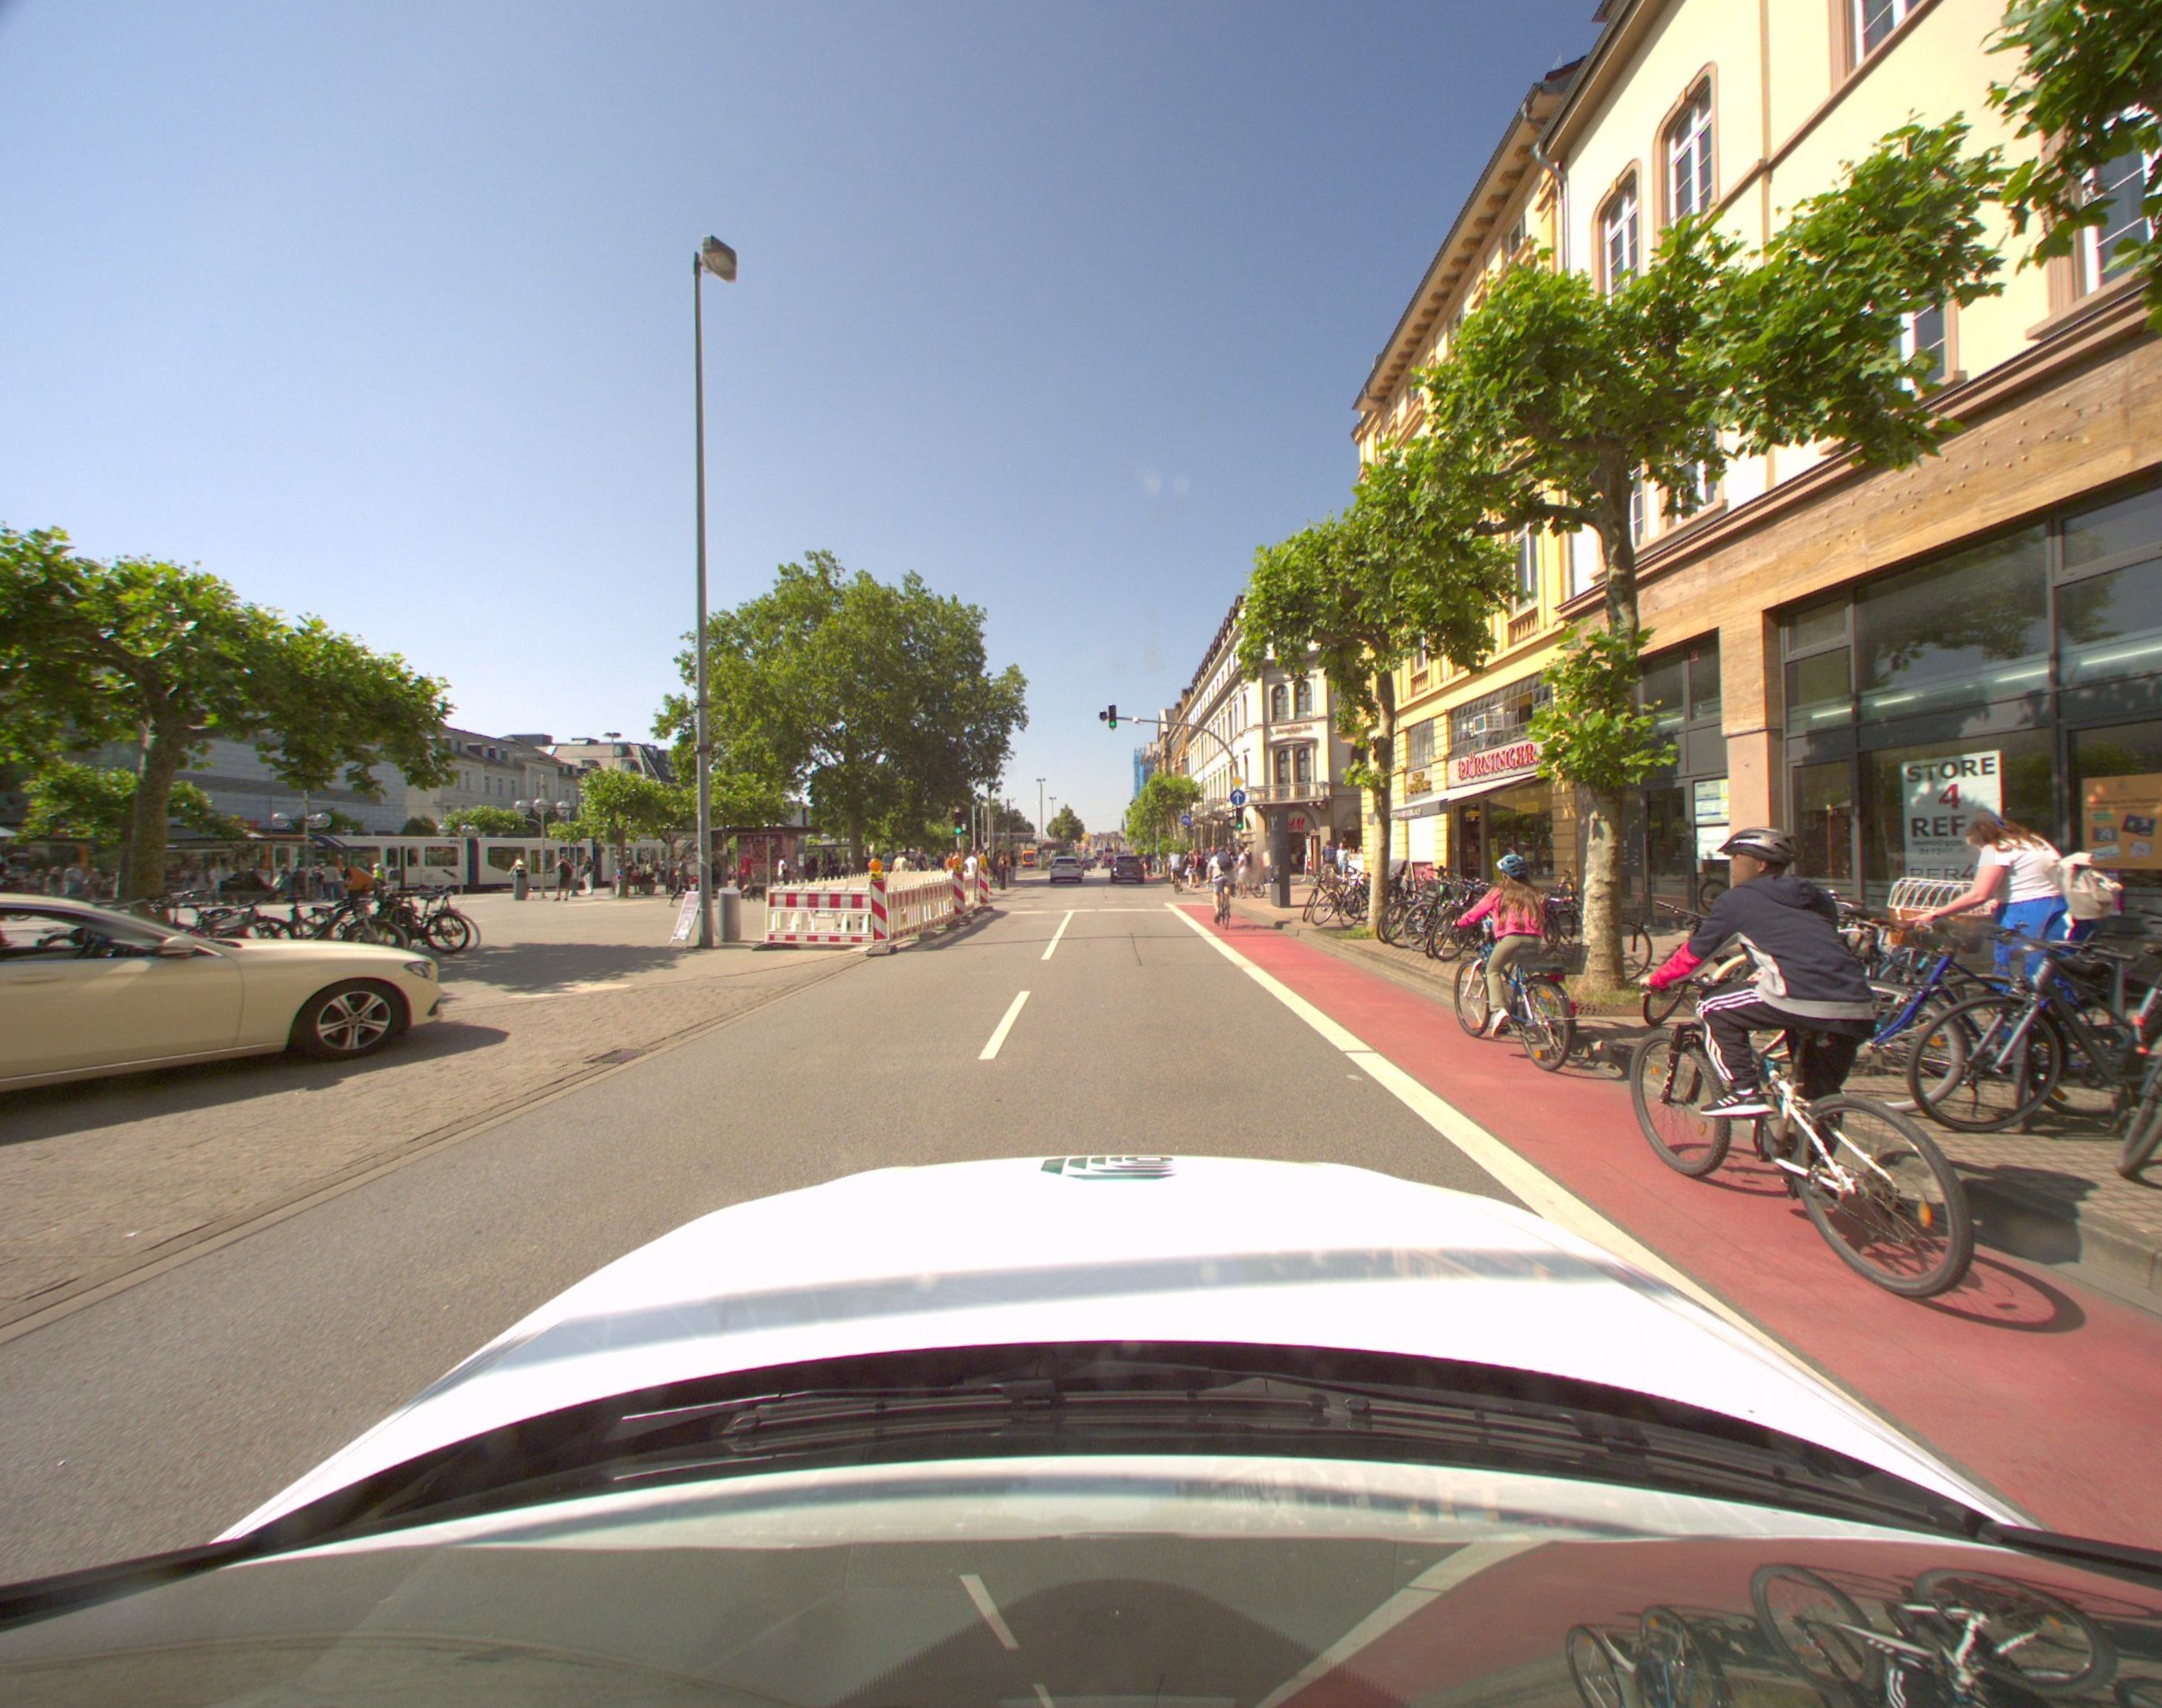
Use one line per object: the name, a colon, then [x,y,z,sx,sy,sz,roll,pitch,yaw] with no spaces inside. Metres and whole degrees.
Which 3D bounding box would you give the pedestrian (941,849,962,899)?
pedestrian: [-4.499,0.694,28.307,0.543,1.718,0.600,1,-1,-30]

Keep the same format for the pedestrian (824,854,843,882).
pedestrian: [-13.222,0.733,43.497,0.627,1.478,0.735,-1,-1,22]

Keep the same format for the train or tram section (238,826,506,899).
train or tram section: [-39.263,0.404,45.804,2.587,3.676,11.072,-1,0,37]

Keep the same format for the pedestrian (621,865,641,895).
pedestrian: [-19.210,1.118,34.784,0.616,1.262,0.604,0,0,-43]

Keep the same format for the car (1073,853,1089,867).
car: [-0.015,0.724,96.441,1.839,1.560,4.000,-1,0,1]

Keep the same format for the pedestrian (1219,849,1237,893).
pedestrian: [5.587,0.653,30.912,0.546,1.631,0.589,-2,-1,4]

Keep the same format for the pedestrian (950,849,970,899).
pedestrian: [-4.315,0.714,29.076,0.536,1.779,0.607,0,-1,7]

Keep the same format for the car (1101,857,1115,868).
car: [3.770,1.202,112.949,1.839,1.413,4.000,-1,0,1]

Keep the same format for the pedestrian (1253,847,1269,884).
pedestrian: [8.015,0.527,36.258,0.521,1.611,0.642,-2,-1,2]

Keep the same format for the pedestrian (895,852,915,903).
pedestrian: [-6.549,0.868,30.324,0.573,1.891,0.654,0,-1,3]

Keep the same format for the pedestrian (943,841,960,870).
pedestrian: [-7.848,0.109,49.375,0.671,1.764,0.771,-1,-1,31]

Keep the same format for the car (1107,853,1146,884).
car: [2.418,0.769,44.298,1.840,1.559,3.998,-1,0,-1]

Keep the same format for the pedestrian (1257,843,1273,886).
pedestrian: [8.048,0.457,35.611,0.521,1.823,0.642,-2,-1,2]

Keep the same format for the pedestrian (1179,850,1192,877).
pedestrian: [6.374,0.600,49.563,0.525,1.594,0.615,-1,2,28]

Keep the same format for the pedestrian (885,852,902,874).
pedestrian: [-9.983,0.484,43.321,0.627,1.144,0.669,-1,-1,22]

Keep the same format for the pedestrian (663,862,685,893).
pedestrian: [-17.021,0.986,34.089,0.605,1.262,0.615,-1,0,37]

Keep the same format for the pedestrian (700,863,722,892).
pedestrian: [-16.108,1.016,35.414,0.605,1.262,0.615,-1,0,28]

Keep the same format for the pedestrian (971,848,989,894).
pedestrian: [-3.900,0.670,31.484,0.573,1.758,0.639,-1,-1,3]

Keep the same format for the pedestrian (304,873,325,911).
pedestrian: [-36.169,1.772,38.422,0.737,1.749,0.610,-1,0,40]

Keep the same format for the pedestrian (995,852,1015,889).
pedestrian: [-3.328,0.733,35.716,0.627,1.595,0.690,-1,-1,22]

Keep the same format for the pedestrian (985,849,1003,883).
pedestrian: [-4.739,0.641,44.324,0.626,1.859,0.735,-1,-1,31]

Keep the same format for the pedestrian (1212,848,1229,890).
pedestrian: [5.169,0.570,30.256,0.520,1.521,0.642,-2,-1,4]

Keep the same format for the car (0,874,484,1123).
car: [-7.536,0.933,5.829,1.873,1.542,4.891,0,-1,29]

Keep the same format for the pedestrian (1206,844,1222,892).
pedestrian: [5.345,0.568,32.701,0.520,1.898,0.642,-2,-1,4]

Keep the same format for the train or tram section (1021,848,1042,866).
train or tram section: [-9.701,0.520,161.195,2.600,3.348,11.017,-1,0,5]

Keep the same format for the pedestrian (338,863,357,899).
pedestrian: [-36.199,1.324,40.175,0.737,1.749,0.610,-1,0,40]

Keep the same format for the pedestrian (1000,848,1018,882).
pedestrian: [-3.774,0.576,42.551,0.627,1.794,0.735,-1,-1,22]

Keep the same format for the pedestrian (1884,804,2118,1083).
pedestrian: [5.702,0.519,5.095,0.612,1.612,0.745,-1,0,2]

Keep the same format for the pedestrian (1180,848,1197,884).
pedestrian: [5.405,0.596,41.079,0.608,1.739,0.677,-5,-1,0]

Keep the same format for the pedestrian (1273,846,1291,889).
pedestrian: [7.826,0.510,31.750,0.546,1.640,0.589,-2,-1,4]

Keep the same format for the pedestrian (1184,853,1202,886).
pedestrian: [5.206,0.719,37.993,0.608,1.515,0.677,-5,-1,0]

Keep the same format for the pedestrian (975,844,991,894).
pedestrian: [-3.852,0.594,32.110,0.529,1.919,0.560,-1,-1,3]

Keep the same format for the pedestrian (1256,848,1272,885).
pedestrian: [8.230,0.562,36.580,0.521,1.609,0.642,-2,-1,2]

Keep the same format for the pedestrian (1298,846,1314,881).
pedestrian: [11.668,0.481,42.164,0.608,1.807,0.677,-1,-1,0]

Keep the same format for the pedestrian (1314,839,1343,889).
pedestrian: [9.058,0.369,29.869,0.655,1.790,1.233,-1,-2,1]

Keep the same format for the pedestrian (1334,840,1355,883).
pedestrian: [11.189,0.319,34.625,0.554,1.801,0.581,-1,-1,-43]

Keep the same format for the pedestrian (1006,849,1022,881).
pedestrian: [-3.813,0.633,46.332,0.626,1.834,0.735,-1,-1,31]

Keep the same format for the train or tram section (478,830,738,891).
train or tram section: [-31.622,0.349,55.915,2.587,3.676,15.647,-1,0,37]

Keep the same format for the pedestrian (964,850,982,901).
pedestrian: [-3.707,0.739,27.970,0.431,1.740,0.600,1,-1,-30]

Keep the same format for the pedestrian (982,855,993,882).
pedestrian: [-5.846,0.905,51.050,0.608,1.725,0.677,-1,-1,0]

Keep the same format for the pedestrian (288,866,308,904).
pedestrian: [-37.293,1.470,38.806,0.737,1.749,0.610,-1,0,40]

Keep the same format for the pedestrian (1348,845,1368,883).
pedestrian: [11.700,0.415,34.400,0.554,1.569,0.581,-1,-1,-43]

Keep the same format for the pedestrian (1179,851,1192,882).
pedestrian: [5.887,0.686,45.915,0.581,1.700,0.605,-4,-1,0]

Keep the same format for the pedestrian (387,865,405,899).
pedestrian: [-35.796,1.438,42.569,0.793,1.749,0.610,-1,0,40]

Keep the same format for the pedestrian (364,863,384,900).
pedestrian: [-34.113,1.299,39.290,0.737,1.749,0.610,-1,0,40]

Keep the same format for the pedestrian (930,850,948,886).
pedestrian: [-7.205,0.703,41.353,0.627,1.810,0.735,-1,-1,22]

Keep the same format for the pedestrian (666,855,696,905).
pedestrian: [-12.459,0.812,25.380,0.573,1.532,0.607,0,-1,7]

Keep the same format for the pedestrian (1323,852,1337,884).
pedestrian: [12.780,0.701,41.820,0.538,1.633,0.677,0,-1,0]

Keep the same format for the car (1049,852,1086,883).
car: [-0.707,0.718,45.569,1.838,1.560,4.002,-2,0,2]

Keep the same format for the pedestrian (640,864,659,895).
pedestrian: [-17.971,1.060,33.914,0.611,1.262,0.609,-1,0,-20]

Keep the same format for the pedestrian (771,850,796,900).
pedestrian: [-10.590,0.736,28.988,0.573,1.739,0.607,0,-1,7]

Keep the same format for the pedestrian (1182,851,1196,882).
pedestrian: [5.979,0.706,45.227,0.581,1.673,0.605,-4,-1,0]

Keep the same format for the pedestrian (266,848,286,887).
pedestrian: [-37.309,0.616,37.751,0.737,1.749,0.610,-1,0,40]

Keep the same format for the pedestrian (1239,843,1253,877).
pedestrian: [8.948,0.315,44.182,0.608,1.824,0.677,-1,-1,0]

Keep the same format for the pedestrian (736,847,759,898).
pedestrian: [-12.321,0.684,30.087,0.666,1.879,0.625,1,-1,-33]

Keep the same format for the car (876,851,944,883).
car: [-10.927,0.838,52.411,1.843,1.955,4.786,-1,-1,23]

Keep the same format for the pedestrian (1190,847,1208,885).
pedestrian: [5.722,0.584,39.615,0.608,1.759,0.677,-5,-1,0]

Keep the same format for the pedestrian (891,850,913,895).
pedestrian: [-6.904,0.700,31.419,0.581,1.722,0.790,-1,0,3]
